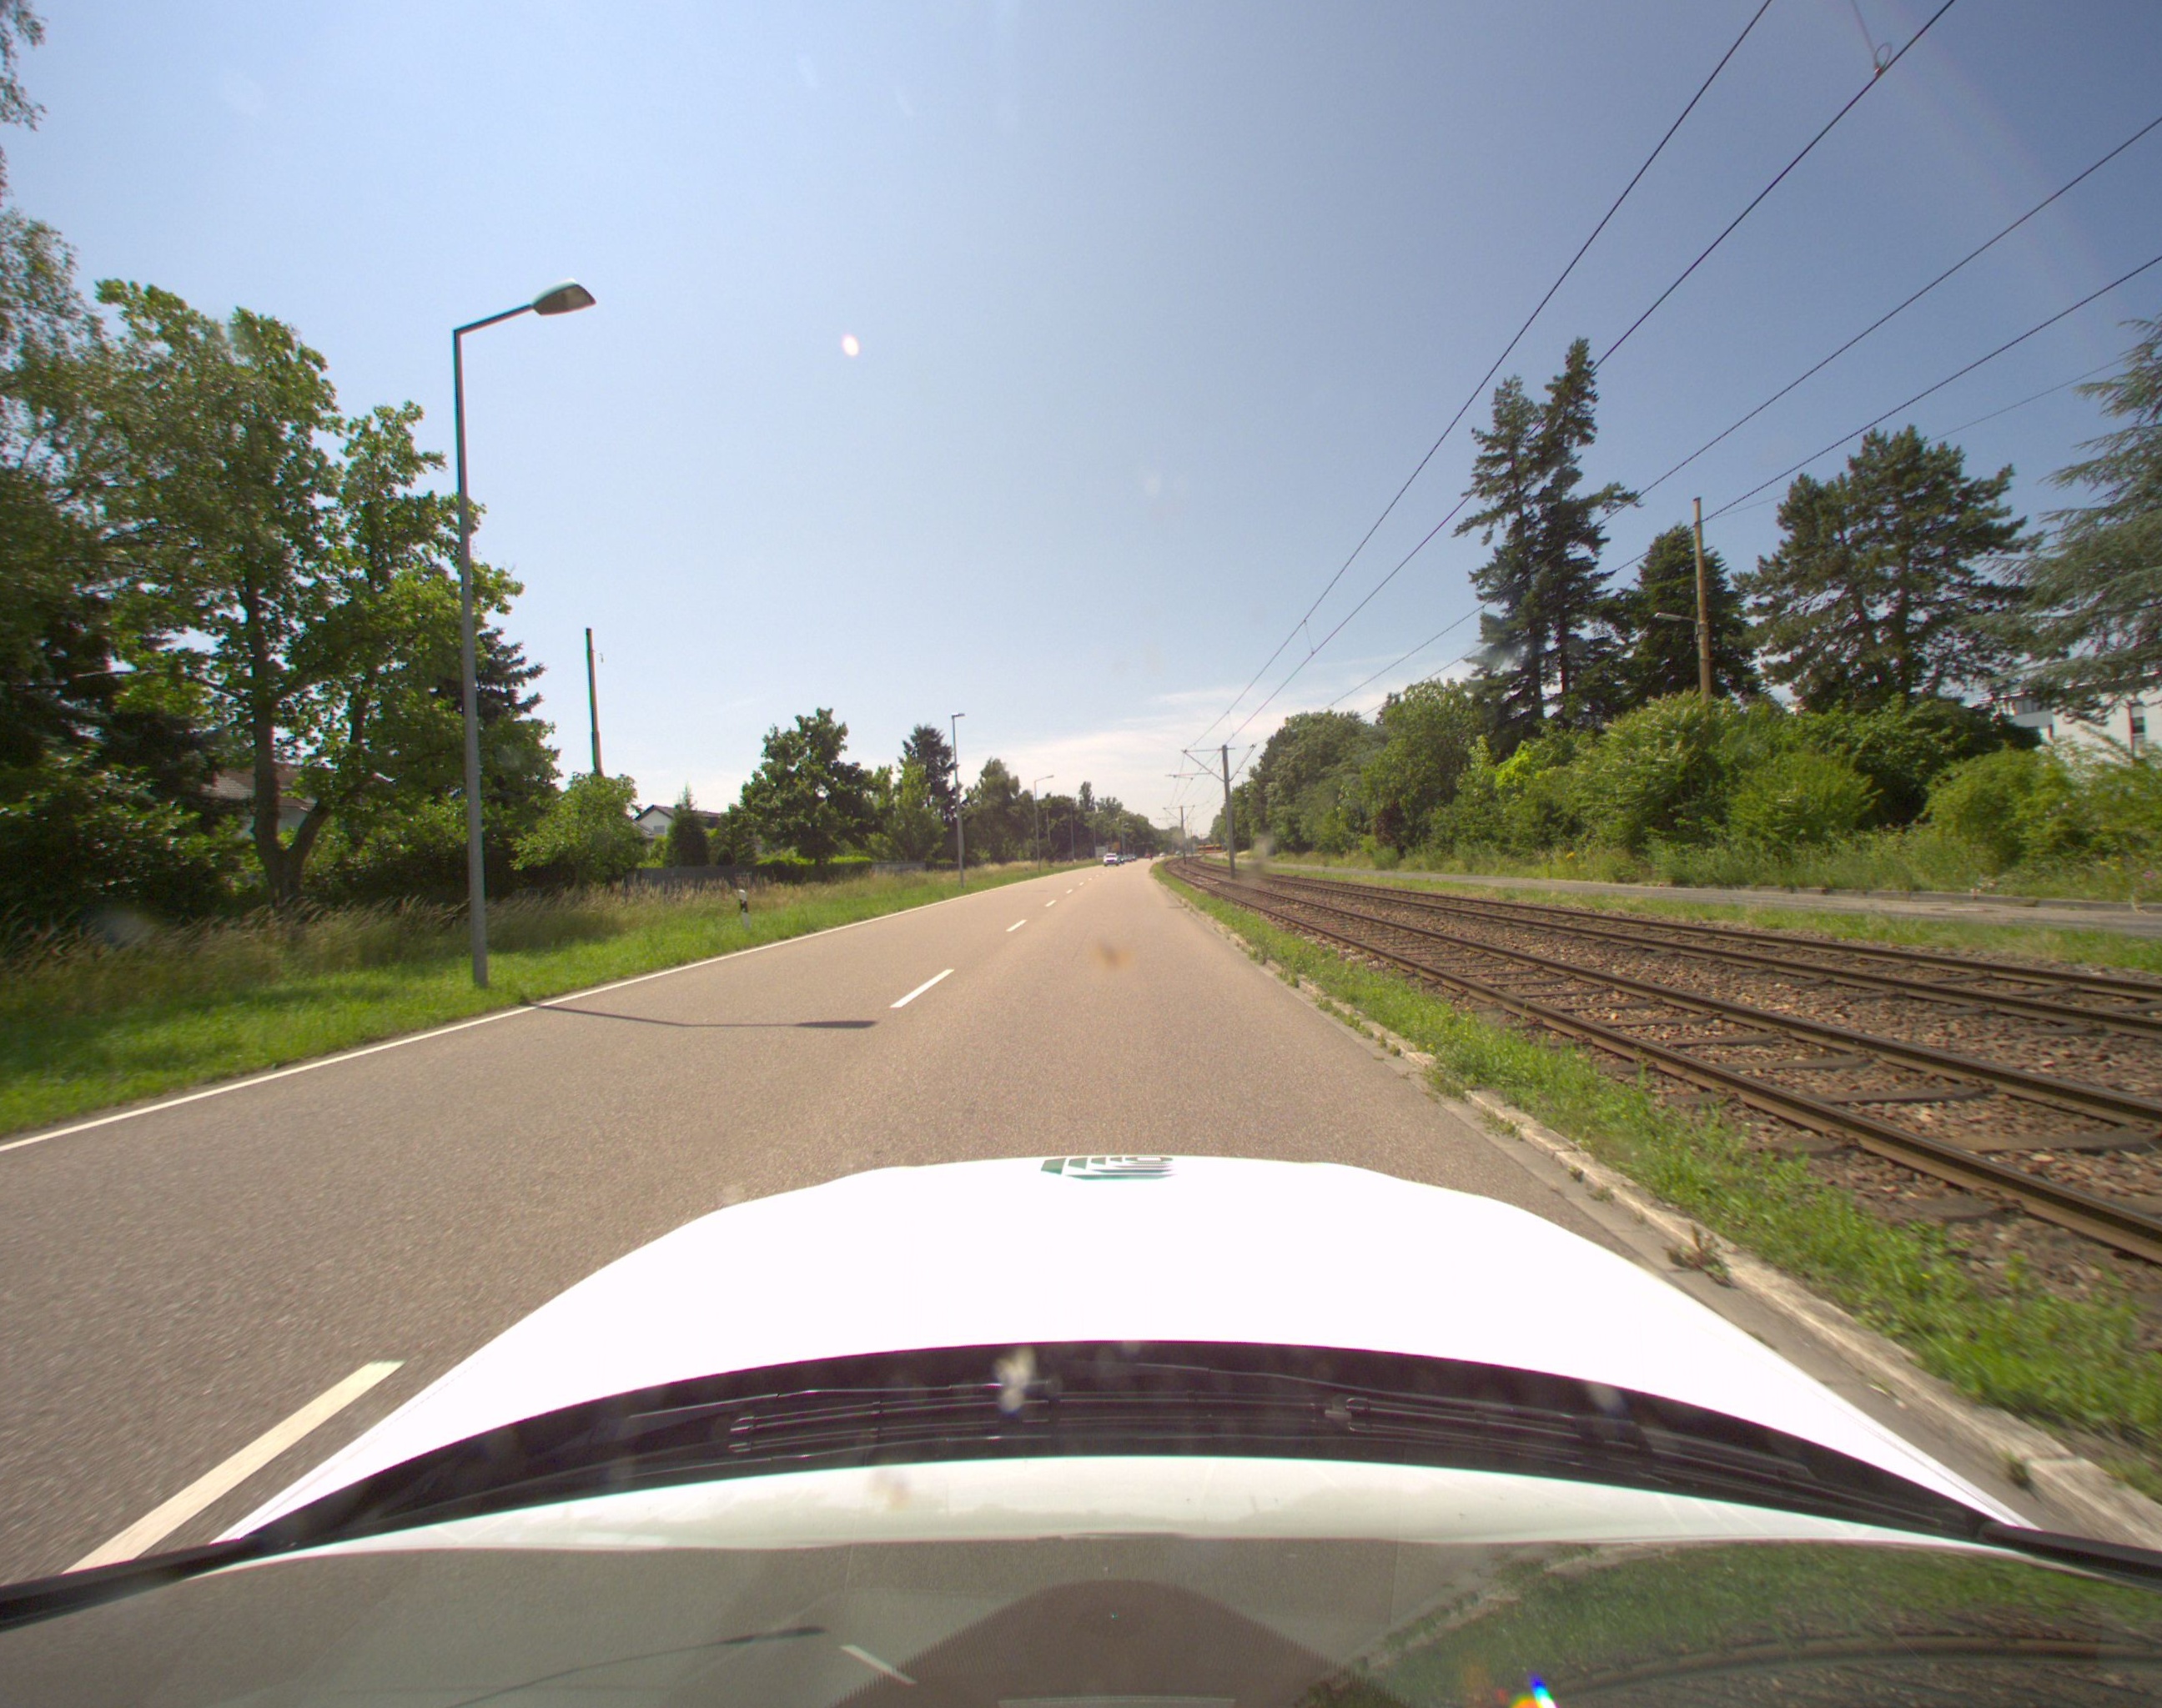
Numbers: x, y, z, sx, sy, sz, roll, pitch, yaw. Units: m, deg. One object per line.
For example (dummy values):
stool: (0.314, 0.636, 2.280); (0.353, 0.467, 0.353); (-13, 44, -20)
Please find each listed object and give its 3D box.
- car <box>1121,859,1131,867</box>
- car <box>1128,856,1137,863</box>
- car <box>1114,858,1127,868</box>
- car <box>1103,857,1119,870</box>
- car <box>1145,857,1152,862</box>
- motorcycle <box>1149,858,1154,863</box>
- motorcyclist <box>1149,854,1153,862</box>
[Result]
car: (8.902, 1.694, 159.634); (1.809, 1.493, 4.368); (-2, -1, 4)
car: (11.149, 1.227, 175.142); (1.809, 1.538, 4.368); (-2, -1, 4)
car: (6.362, 1.473, 131.389); (1.809, 1.529, 4.368); (-2, -1, 4)
car: (4.281, 1.309, 114.921); (1.927, 1.796, 4.717); (-2, -1, 4)
car: (21.235, 1.801, 256.002); (1.618, 1.395, 4.373); (-2, -1, 8)
motorcycle: (16.366, 1.496, 188.835); (0.965, 1.117, 2.737); (-2, -1, 6)
motorcyclist: (16.296, 0.918, 188.732); (0.887, 1.905, 1.017); (-2, -1, 5)
